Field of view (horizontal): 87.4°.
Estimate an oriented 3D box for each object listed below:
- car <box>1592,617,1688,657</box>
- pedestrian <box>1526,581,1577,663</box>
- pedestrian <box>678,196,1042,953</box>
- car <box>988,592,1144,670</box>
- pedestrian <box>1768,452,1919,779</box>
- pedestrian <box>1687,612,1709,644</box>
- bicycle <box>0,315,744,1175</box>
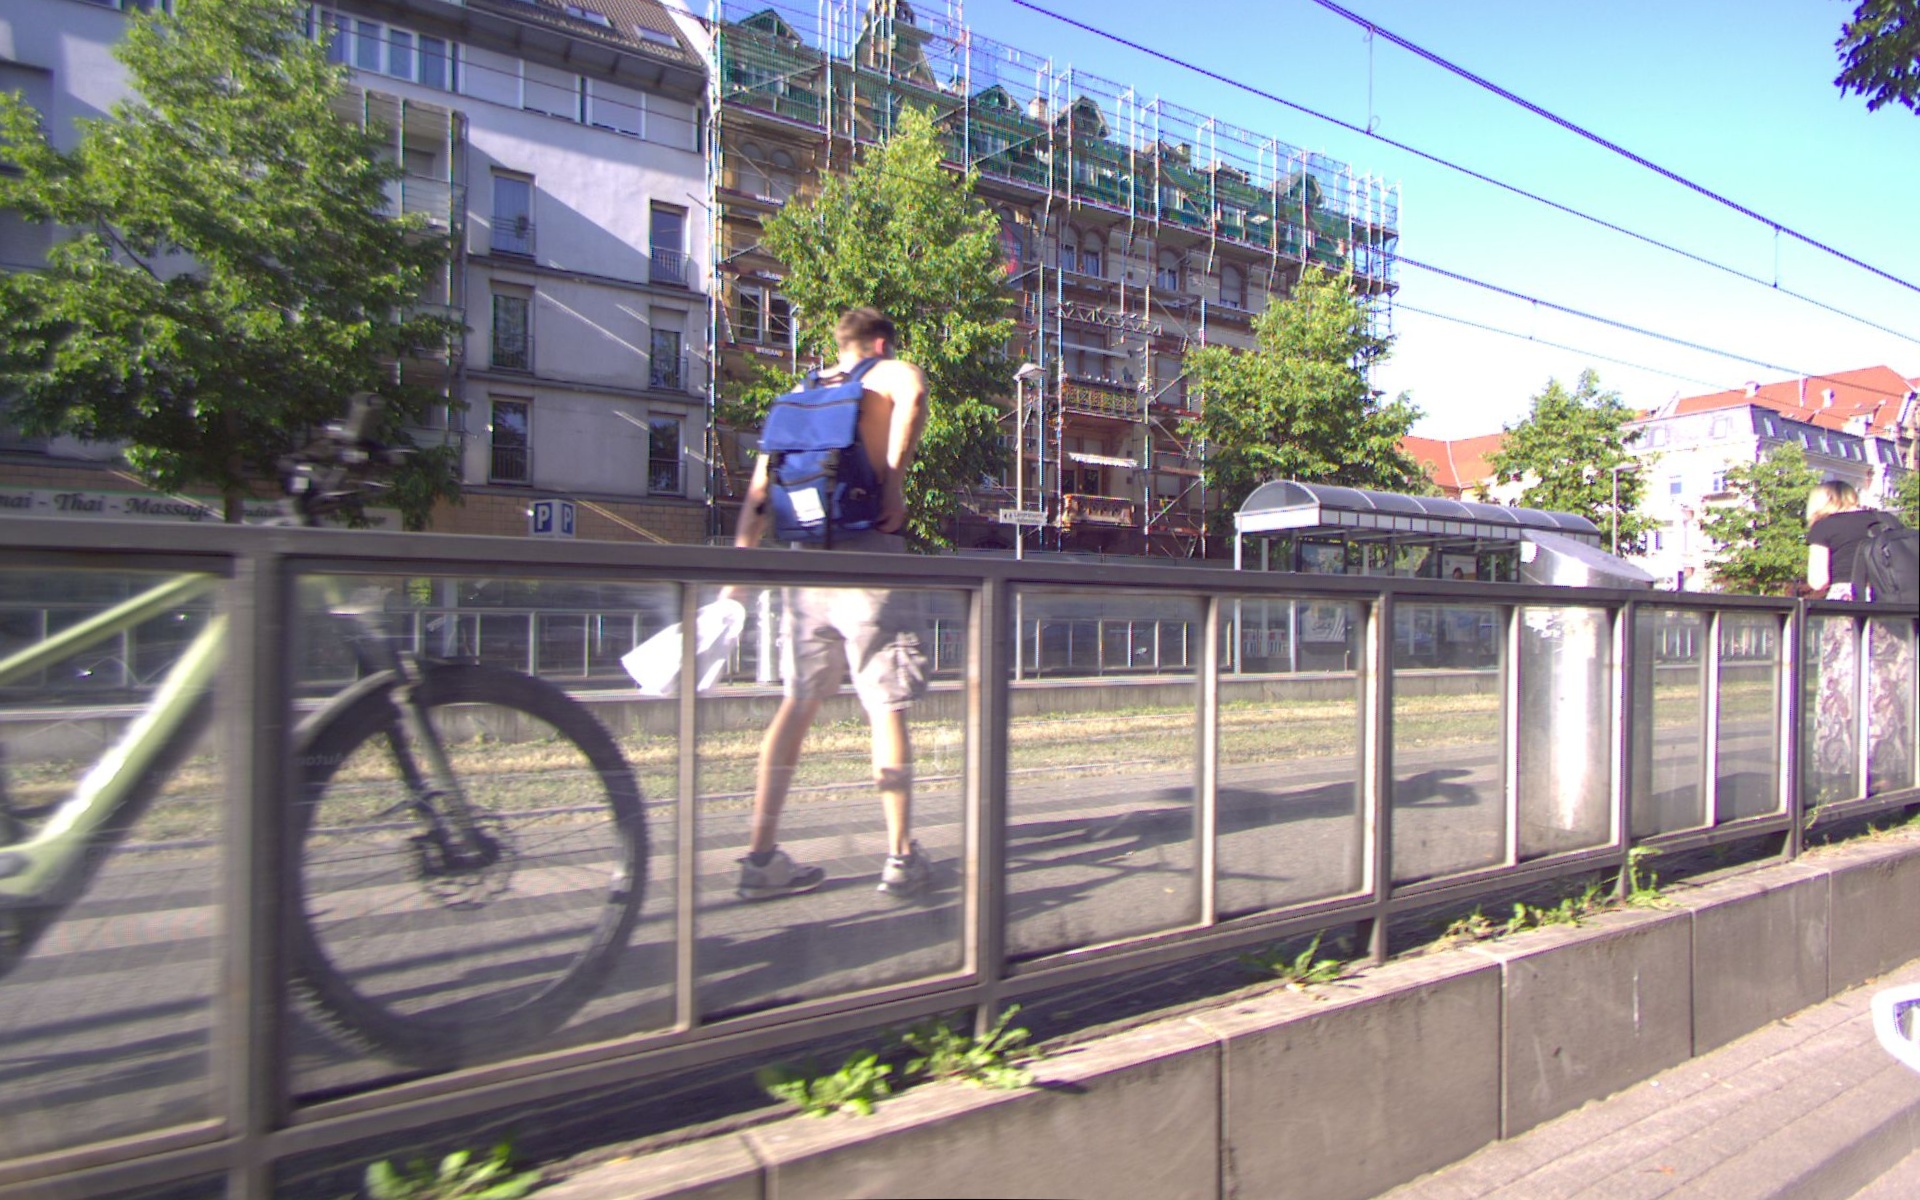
[{"bbox_3d":[29.920,1.612,44.172,4.011,1.607,1.715,1,1,-26],"label":"car"},{"bbox_3d":[12.704,0.460,21.570,0.647,1.713,0.675,1,1,-32],"label":"pedestrian"},{"bbox_3d":[-0.318,-0.056,2.912,0.764,1.794,0.781,1,1,-30],"label":"pedestrian"},{"bbox_3d":[3.008,0.854,28.397,3.951,2.040,1.985,1,1,-29],"label":"car"},{"bbox_3d":[4.879,0.074,5.297,0.841,1.583,0.675,1,1,-30],"label":"pedestrian"},{"bbox_3d":[38.921,1.488,52.964,0.805,1.669,0.719,1,-2,-36],"label":"pedestrian"},{"bbox_3d":[-1.440,0.190,1.668,2.001,1.148,0.735,1,1,-23],"label":"bicycle"}]
